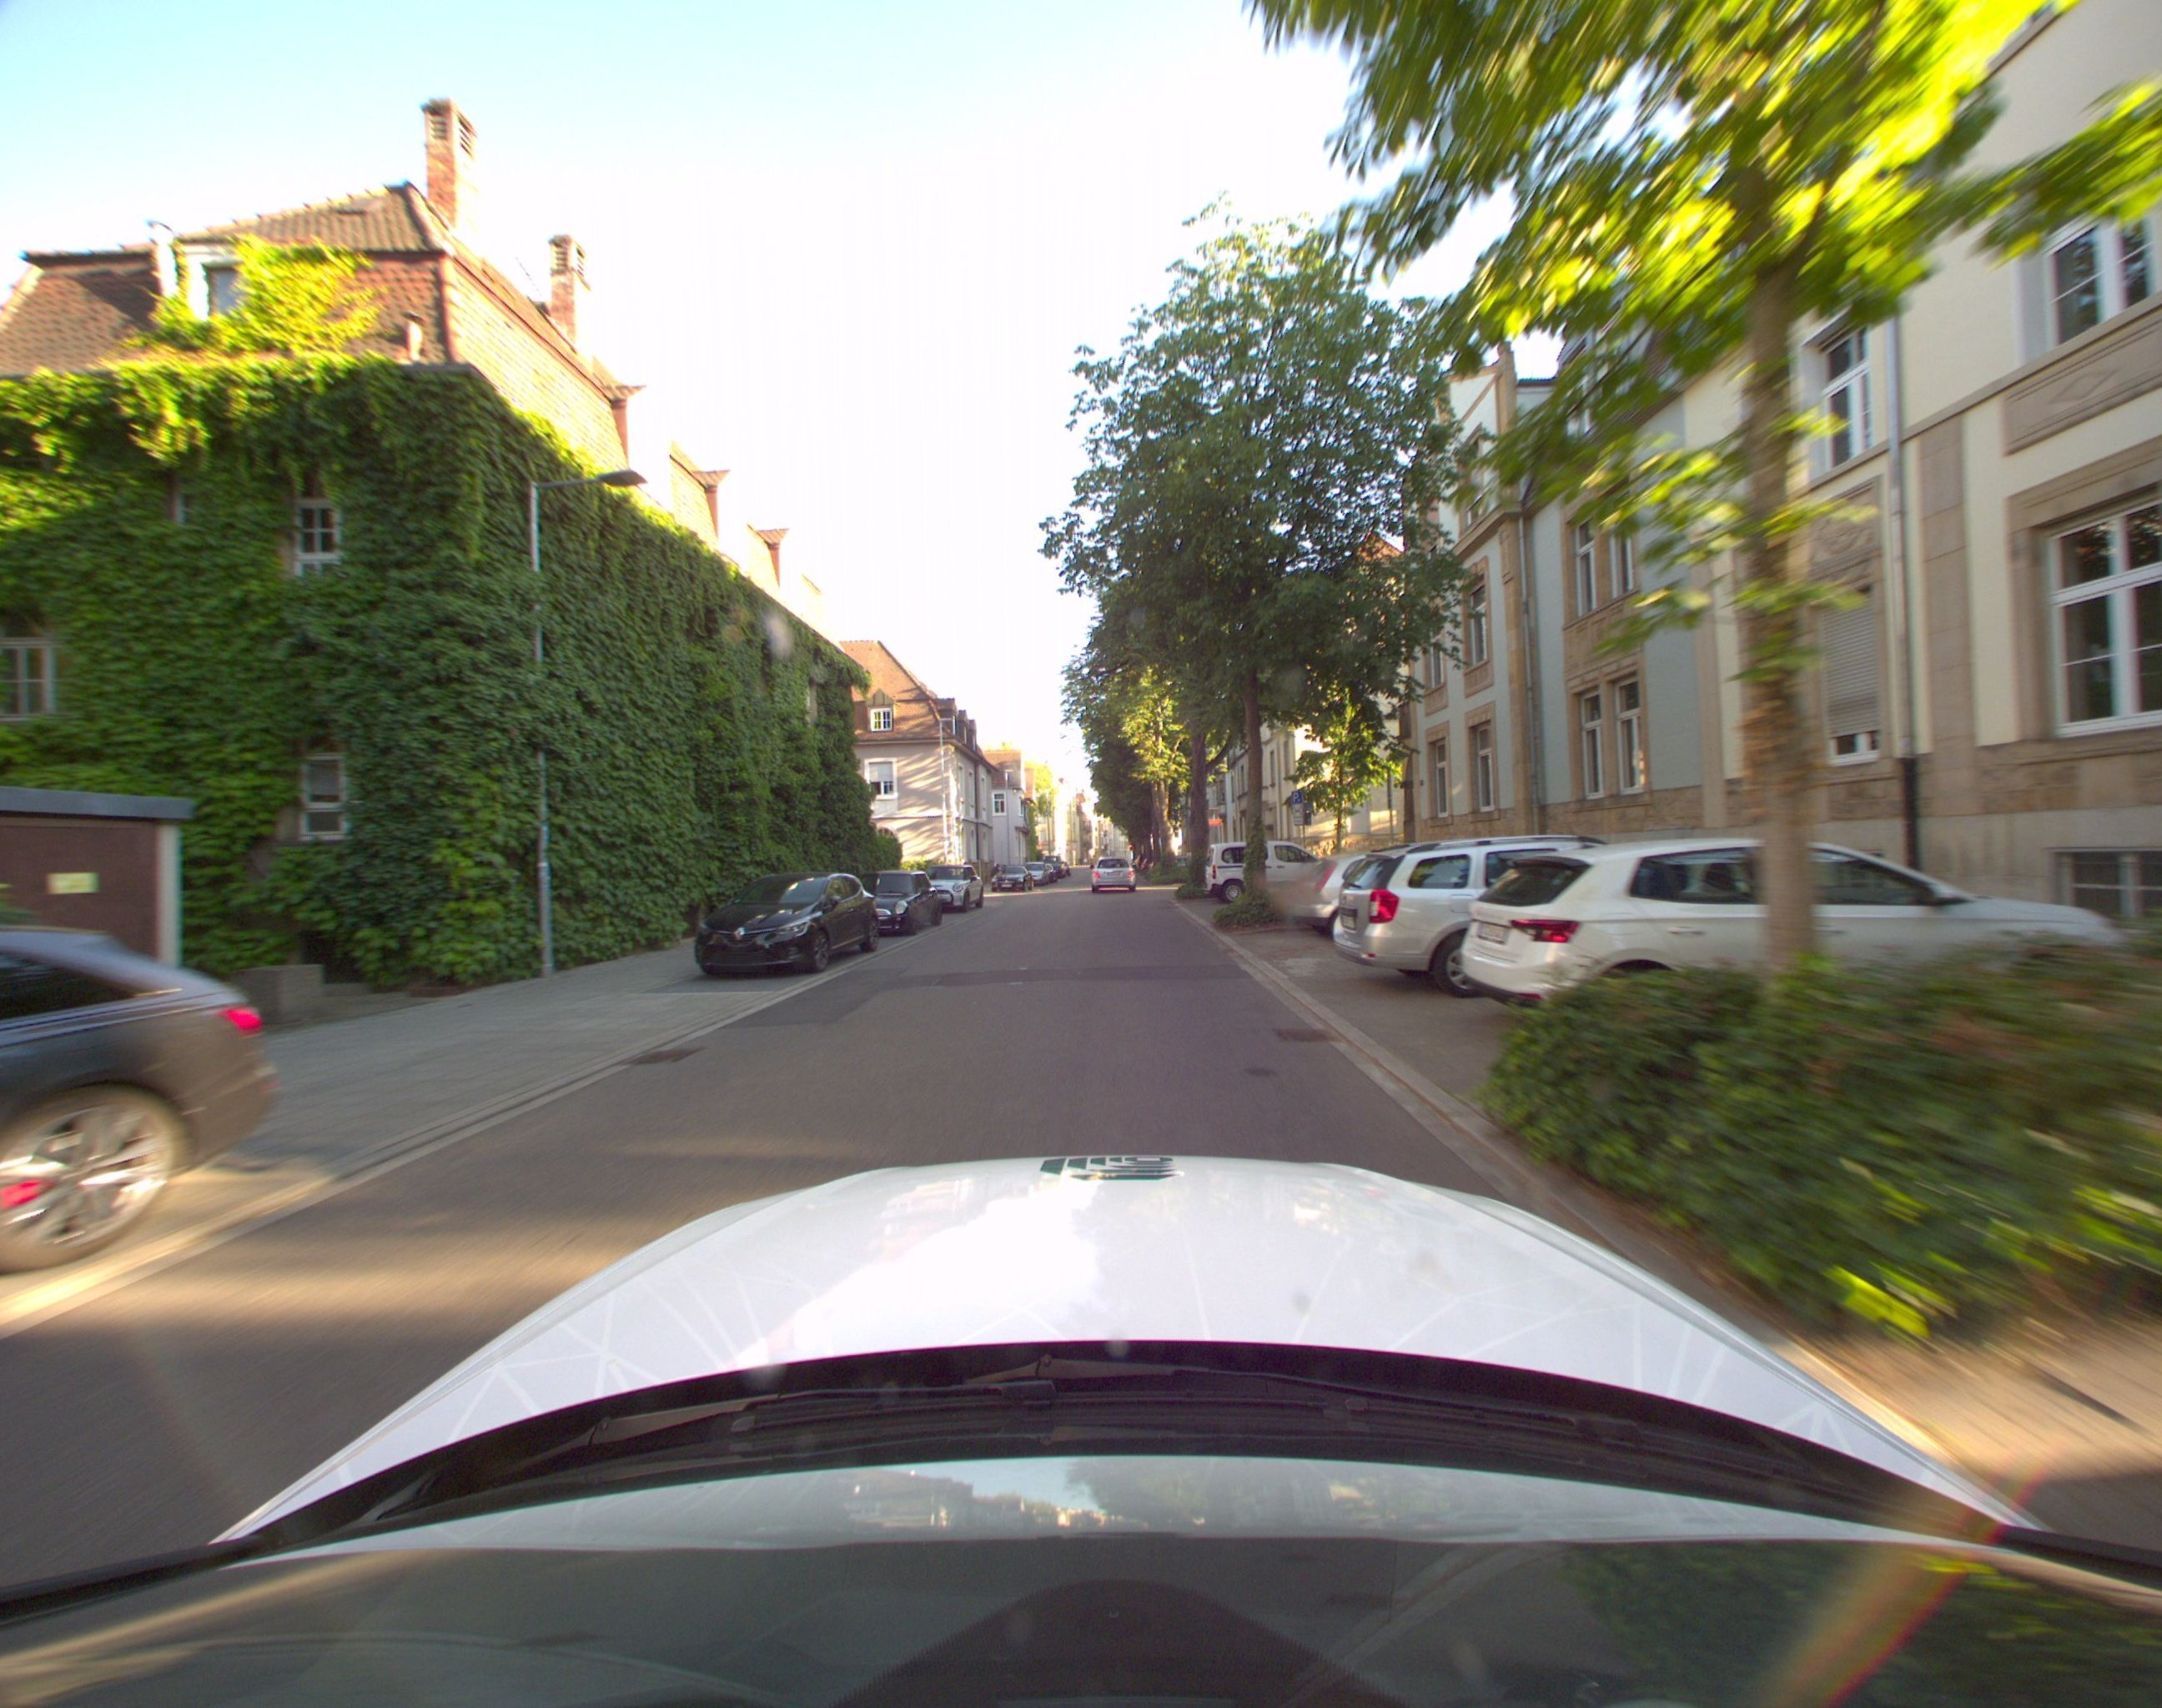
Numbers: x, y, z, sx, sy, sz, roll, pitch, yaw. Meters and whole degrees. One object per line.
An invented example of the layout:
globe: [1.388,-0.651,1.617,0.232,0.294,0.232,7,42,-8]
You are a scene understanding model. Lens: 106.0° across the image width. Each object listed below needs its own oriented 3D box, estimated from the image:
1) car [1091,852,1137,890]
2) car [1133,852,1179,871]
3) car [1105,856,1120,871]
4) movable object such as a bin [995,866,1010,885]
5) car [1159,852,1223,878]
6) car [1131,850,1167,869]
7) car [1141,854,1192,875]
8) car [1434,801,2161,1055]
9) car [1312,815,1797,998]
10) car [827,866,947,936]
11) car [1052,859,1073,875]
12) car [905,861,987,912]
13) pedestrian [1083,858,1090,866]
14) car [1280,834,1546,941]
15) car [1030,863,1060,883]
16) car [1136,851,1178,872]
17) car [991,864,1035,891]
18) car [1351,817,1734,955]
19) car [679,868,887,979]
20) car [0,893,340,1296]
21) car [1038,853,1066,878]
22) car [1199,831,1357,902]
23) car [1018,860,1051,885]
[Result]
car: [1.376,0.684,33.530,1.776,1.437,3.853,-1,-1,3]
car: [8.516,0.846,93.218,5.037,1.989,2.071,-2,0,-1]
car: [3.582,1.047,93.023,1.617,1.570,3.683,-2,0,3]
movable object such as a bin: [-5.497,1.522,57.232,0.719,1.283,2.097,-2,0,2]
car: [7.054,0.703,52.384,3.784,1.438,1.747,-3,-1,-3]
car: [8.832,0.739,106.065,4.375,2.364,2.000,-2,0,-1]
car: [7.267,0.883,69.374,4.171,1.475,1.854,-4,-1,4]
car: [4.968,0.513,6.162,3.832,1.462,1.690,-4,0,6]
car: [4.791,0.524,8.742,4.126,1.534,1.688,-4,0,4]
car: [-4.310,1.006,18.641,1.680,1.379,3.723,-1,0,2]
car: [-1.782,1.234,79.344,1.688,1.447,4.360,-1,0,2]
car: [-4.157,0.969,25.690,1.697,1.460,3.921,-1,0,3]
pedestrian: [1.151,1.690,169.437,1.215,1.722,1.505,-1,-1,5]
car: [5.461,0.532,13.761,3.734,1.463,1.735,-4,0,1]
car: [-2.456,1.311,56.937,1.524,1.319,4.232,-1,-1,5]
car: [7.989,0.782,85.966,4.206,1.896,1.905,-3,-1,0]
car: [-3.547,1.228,43.208,1.646,1.324,4.050,-1,-1,4]
car: [6.289,0.418,11.497,4.298,1.534,1.829,-4,0,1]
car: [-4.517,0.980,13.042,1.643,1.421,4.101,-1,0,2]
car: [-4.983,0.946,2.096,1.787,1.461,4.776,-1,0,0]
car: [-2.397,0.931,68.484,1.975,1.947,4.853,-1,0,1]
car: [5.907,0.373,24.837,4.298,1.807,2.001,-4,0,1]
car: [-2.897,1.152,51.854,1.647,1.445,3.963,-1,0,3]
